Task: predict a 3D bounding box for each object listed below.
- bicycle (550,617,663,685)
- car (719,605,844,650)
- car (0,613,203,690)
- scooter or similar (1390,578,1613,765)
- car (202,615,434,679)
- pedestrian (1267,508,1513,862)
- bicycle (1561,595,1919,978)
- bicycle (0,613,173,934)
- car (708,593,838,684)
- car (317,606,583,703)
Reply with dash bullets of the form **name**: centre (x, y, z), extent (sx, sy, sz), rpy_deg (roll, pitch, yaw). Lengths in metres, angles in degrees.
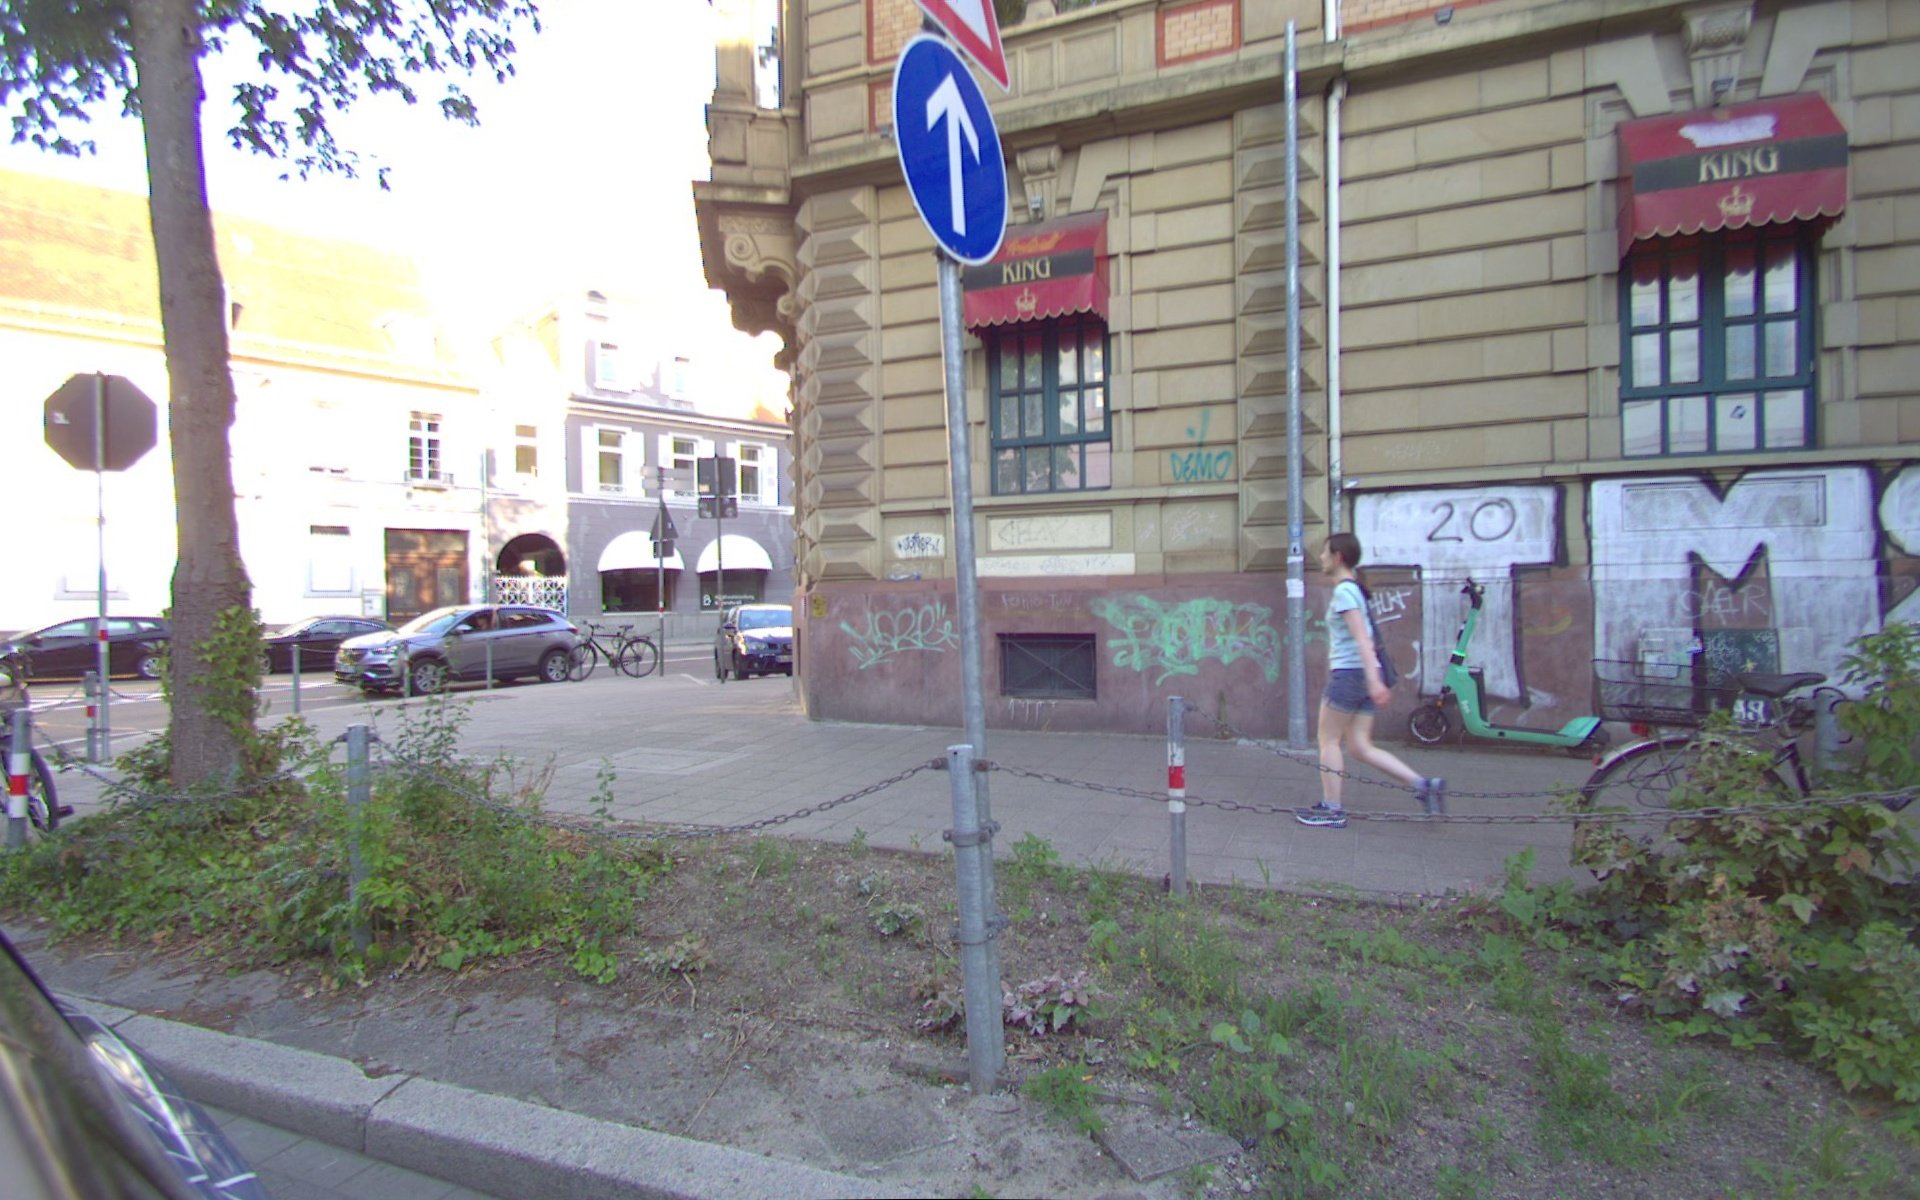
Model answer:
- **bicycle**: centre (-6.436, 0.913, 18.462), extent (1.774, 1.134, 0.730), rpy_deg (-1, -3, -36)
- **car**: centre (-6.342, 0.948, 36.238), extent (4.187, 1.458, 1.749), rpy_deg (-1, -1, -45)
- **car**: centre (-19.771, 1.114, 22.630), extent (4.365, 1.553, 1.809), rpy_deg (0, -1, -44)
- **scooter or similar**: centre (3.688, 0.454, 6.933), extent (1.284, 1.176, 0.434), rpy_deg (-1, 1, 36)
- **car**: centre (-16.344, 1.146, 25.940), extent (4.784, 1.405, 1.780), rpy_deg (-1, -1, -43)
- **pedestrian**: centre (2.140, 0.364, 5.039), extent (0.978, 1.568, 0.692), rpy_deg (0, 2, 37)
- **bicycle**: centre (3.203, 0.572, 3.275), extent (2.088, 1.162, 0.508), rpy_deg (-1, 1, 24)
- **bicycle**: centre (-4.760, 0.722, 4.973), extent (2.569, 1.277, 0.835), rpy_deg (-1, -1, 38)
- **car**: centre (-3.575, 0.759, 18.814), extent (1.711, 1.472, 3.875), rpy_deg (-1, -3, -20)
- **car**: centre (-9.387, 0.926, 18.970), extent (1.685, 1.601, 4.191), rpy_deg (0, -1, 32)
